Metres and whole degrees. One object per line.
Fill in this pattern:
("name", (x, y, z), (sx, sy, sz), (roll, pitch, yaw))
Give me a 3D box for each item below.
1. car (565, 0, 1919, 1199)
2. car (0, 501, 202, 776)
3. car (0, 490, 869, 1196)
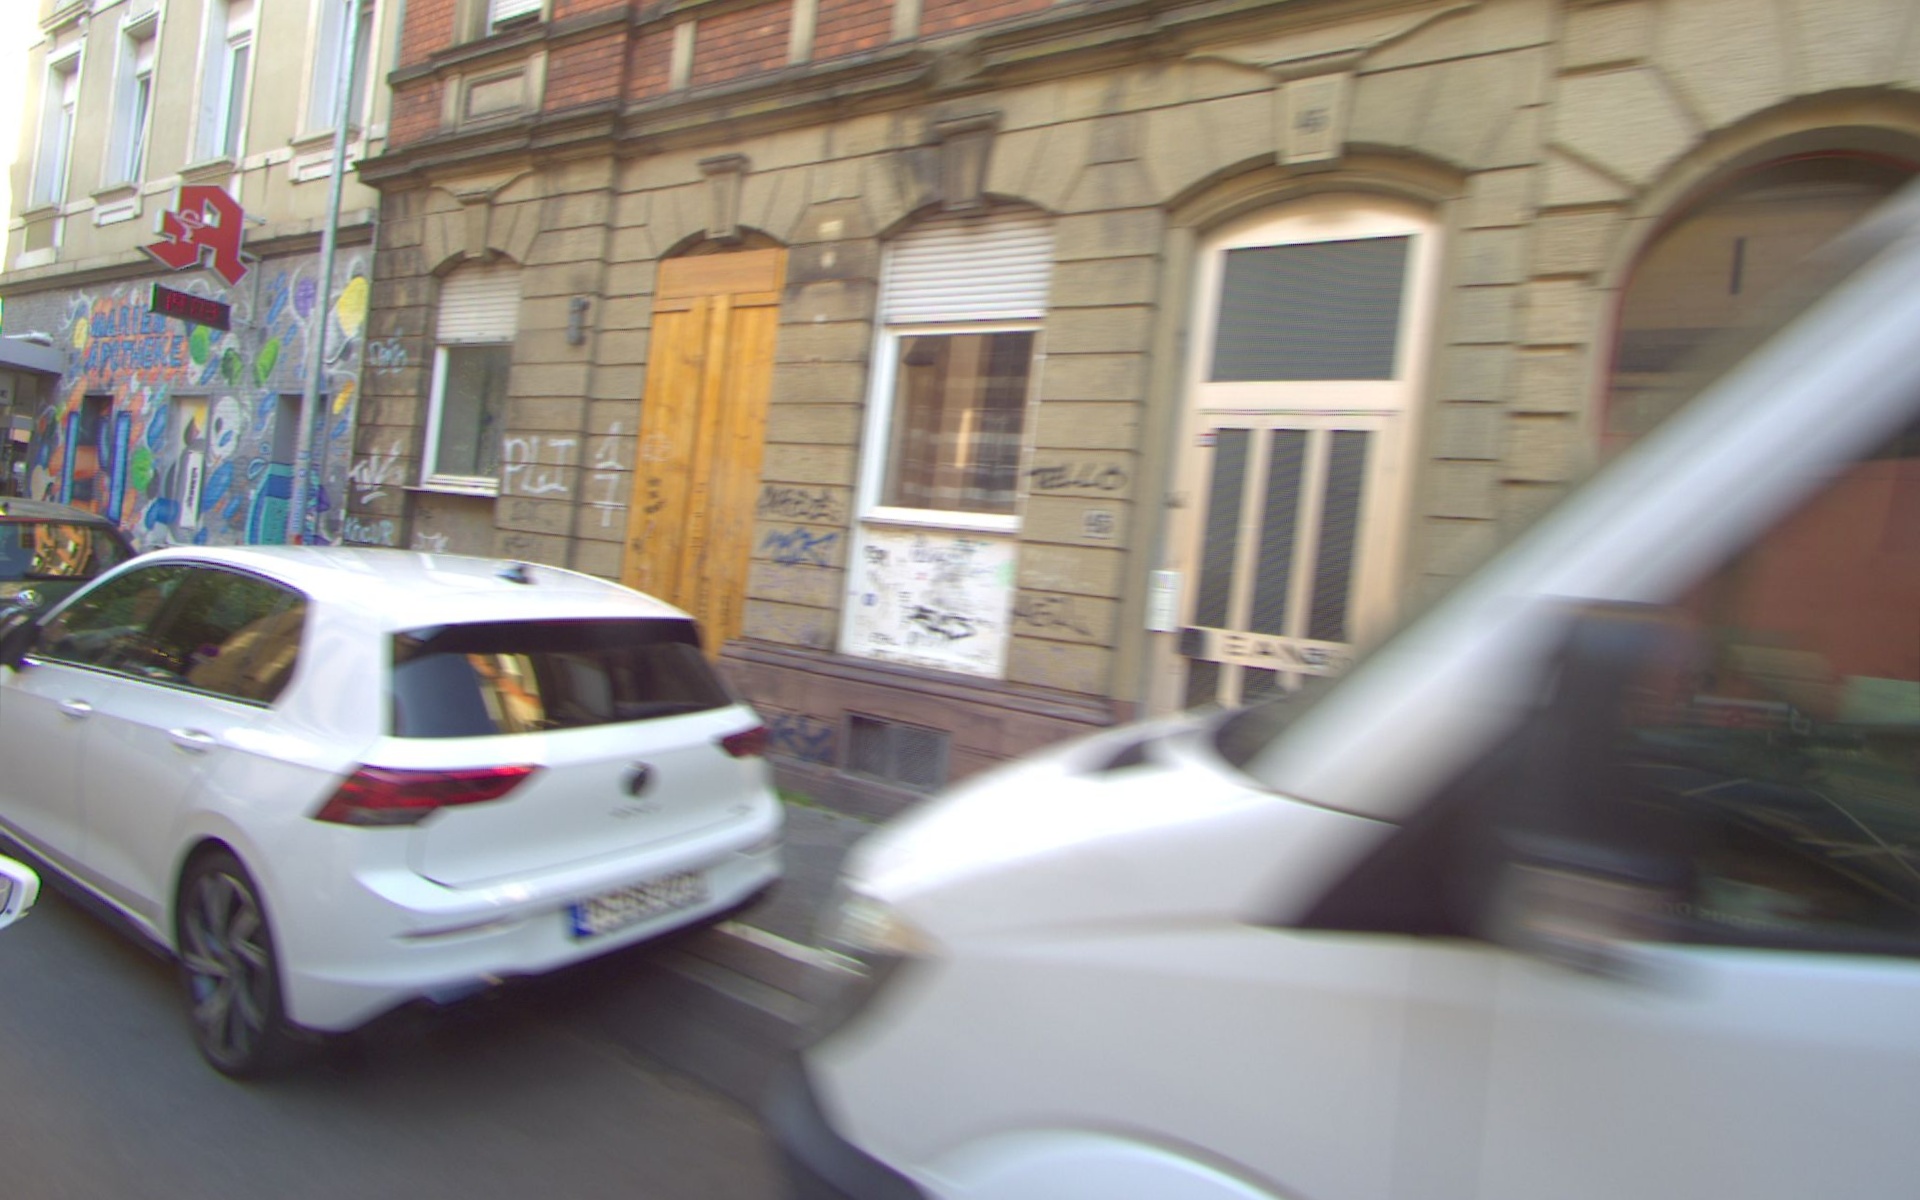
("car", (2.415, 0.514, 1.077), (5.790, 2.642, 2.072), (7, -1, 32))
("car", (-6.751, 0.057, 6.576), (3.593, 1.512, 1.573), (7, -2, 32))
("car", (-2.709, 0.498, 4.189), (4.287, 1.503, 1.784), (7, -2, 32))
